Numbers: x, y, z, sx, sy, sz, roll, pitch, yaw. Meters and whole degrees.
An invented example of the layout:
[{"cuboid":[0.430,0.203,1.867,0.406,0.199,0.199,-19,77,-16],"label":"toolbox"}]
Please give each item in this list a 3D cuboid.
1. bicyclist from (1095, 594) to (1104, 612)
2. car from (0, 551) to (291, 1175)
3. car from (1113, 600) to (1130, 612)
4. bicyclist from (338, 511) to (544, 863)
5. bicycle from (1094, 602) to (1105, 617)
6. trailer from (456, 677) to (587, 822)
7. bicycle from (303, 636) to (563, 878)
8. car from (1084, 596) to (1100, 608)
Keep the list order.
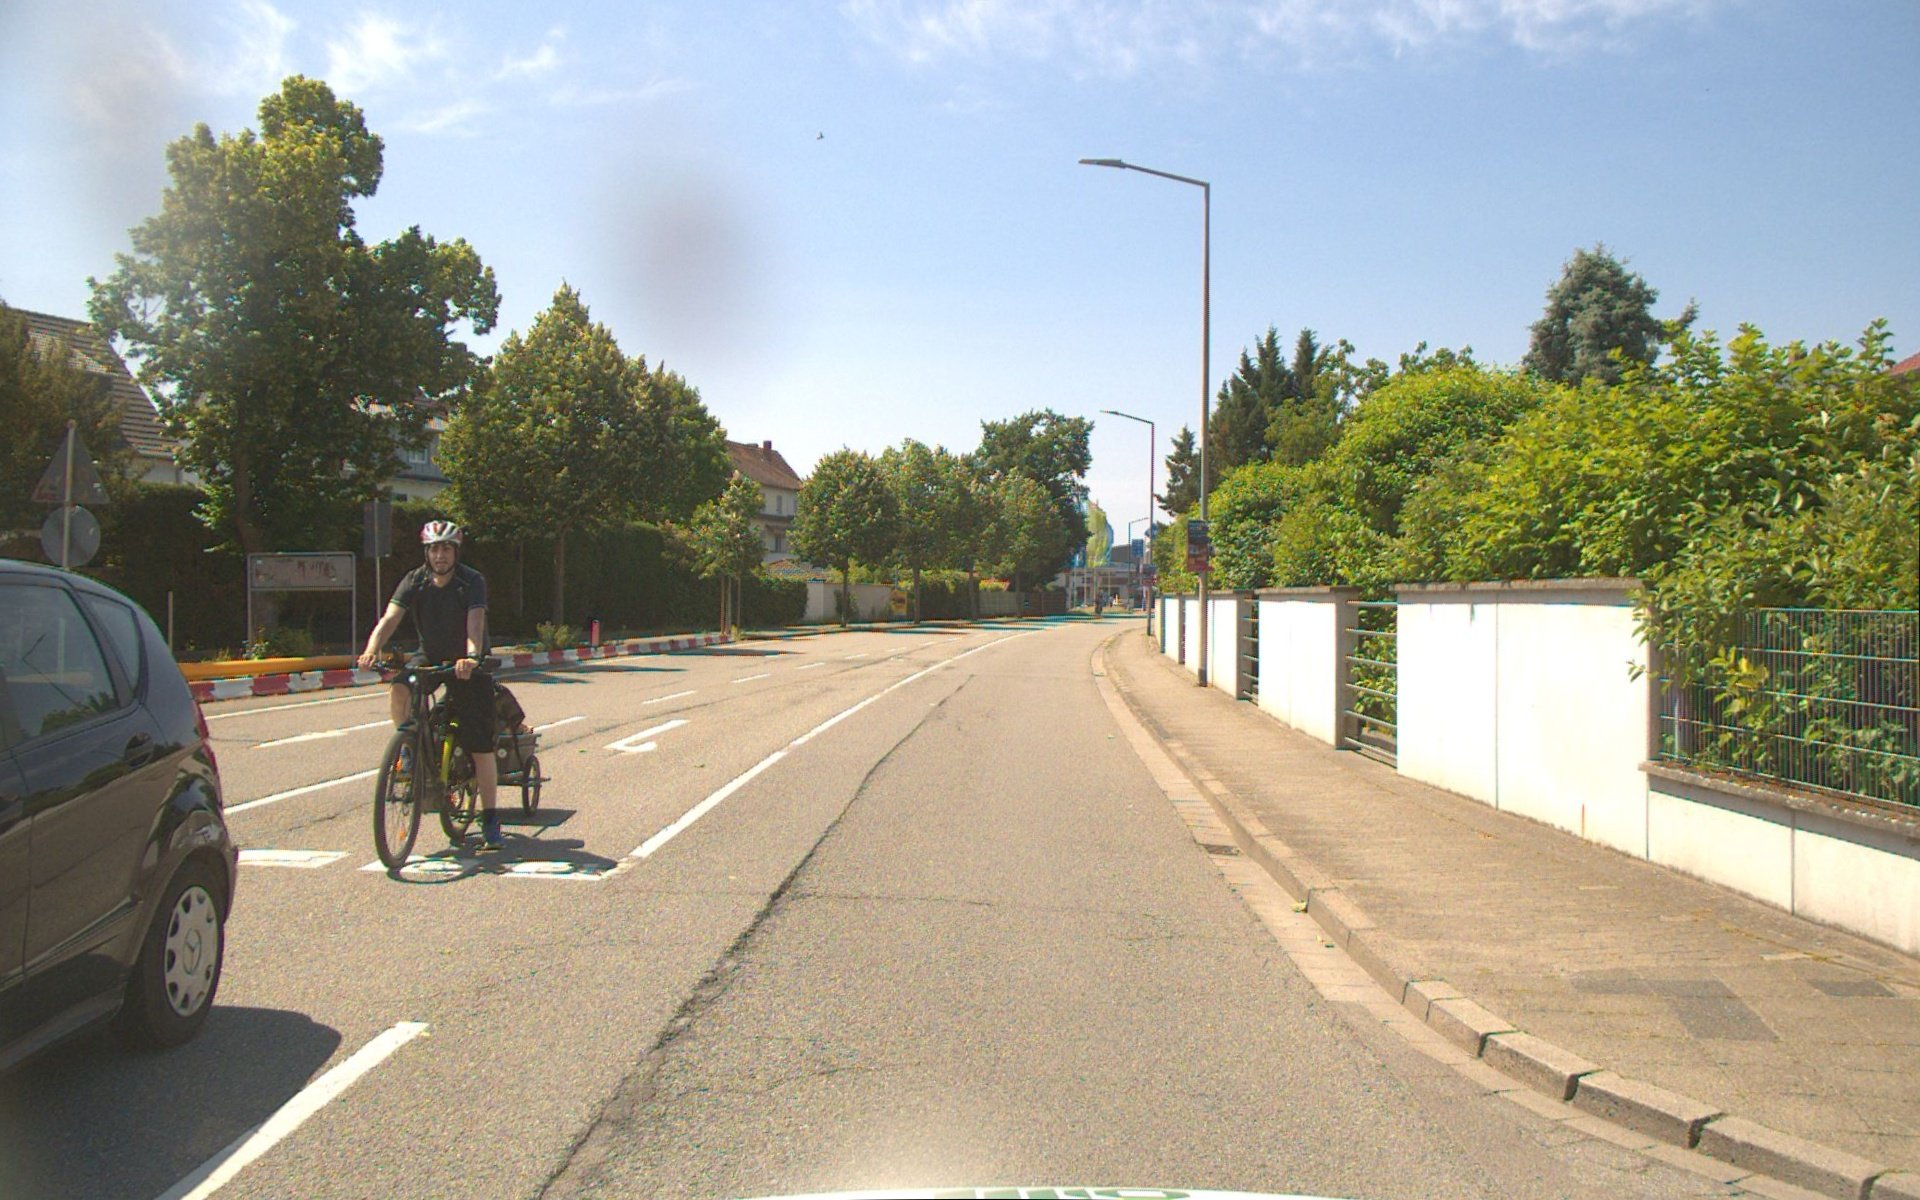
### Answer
[{"cuboid":[10.866,0.240,128.981,0.615,1.433,0.677,0,0,13],"label":"bicyclist"},{"cuboid":[-3.218,0.628,4.060,1.691,1.559,3.828,2,0,-3],"label":"car"},{"cuboid":[20.266,0.768,207.671,1.582,1.445,3.715,-1,0,13],"label":"car"},{"cuboid":[-2.943,0.474,9.475,0.828,1.898,0.976,1,0,0],"label":"bicyclist"},{"cuboid":[10.864,0.733,128.992,0.618,1.201,1.817,0,0,13],"label":"bicycle"},{"cuboid":[-2.910,0.975,11.063,0.558,0.871,1.132,0,0,1],"label":"trailer"},{"cuboid":[-2.950,0.830,9.509,0.833,1.186,1.977,1,0,0],"label":"bicycle"},{"cuboid":[16.627,0.262,208.144,1.582,1.445,3.715,-1,0,13],"label":"car"}]
